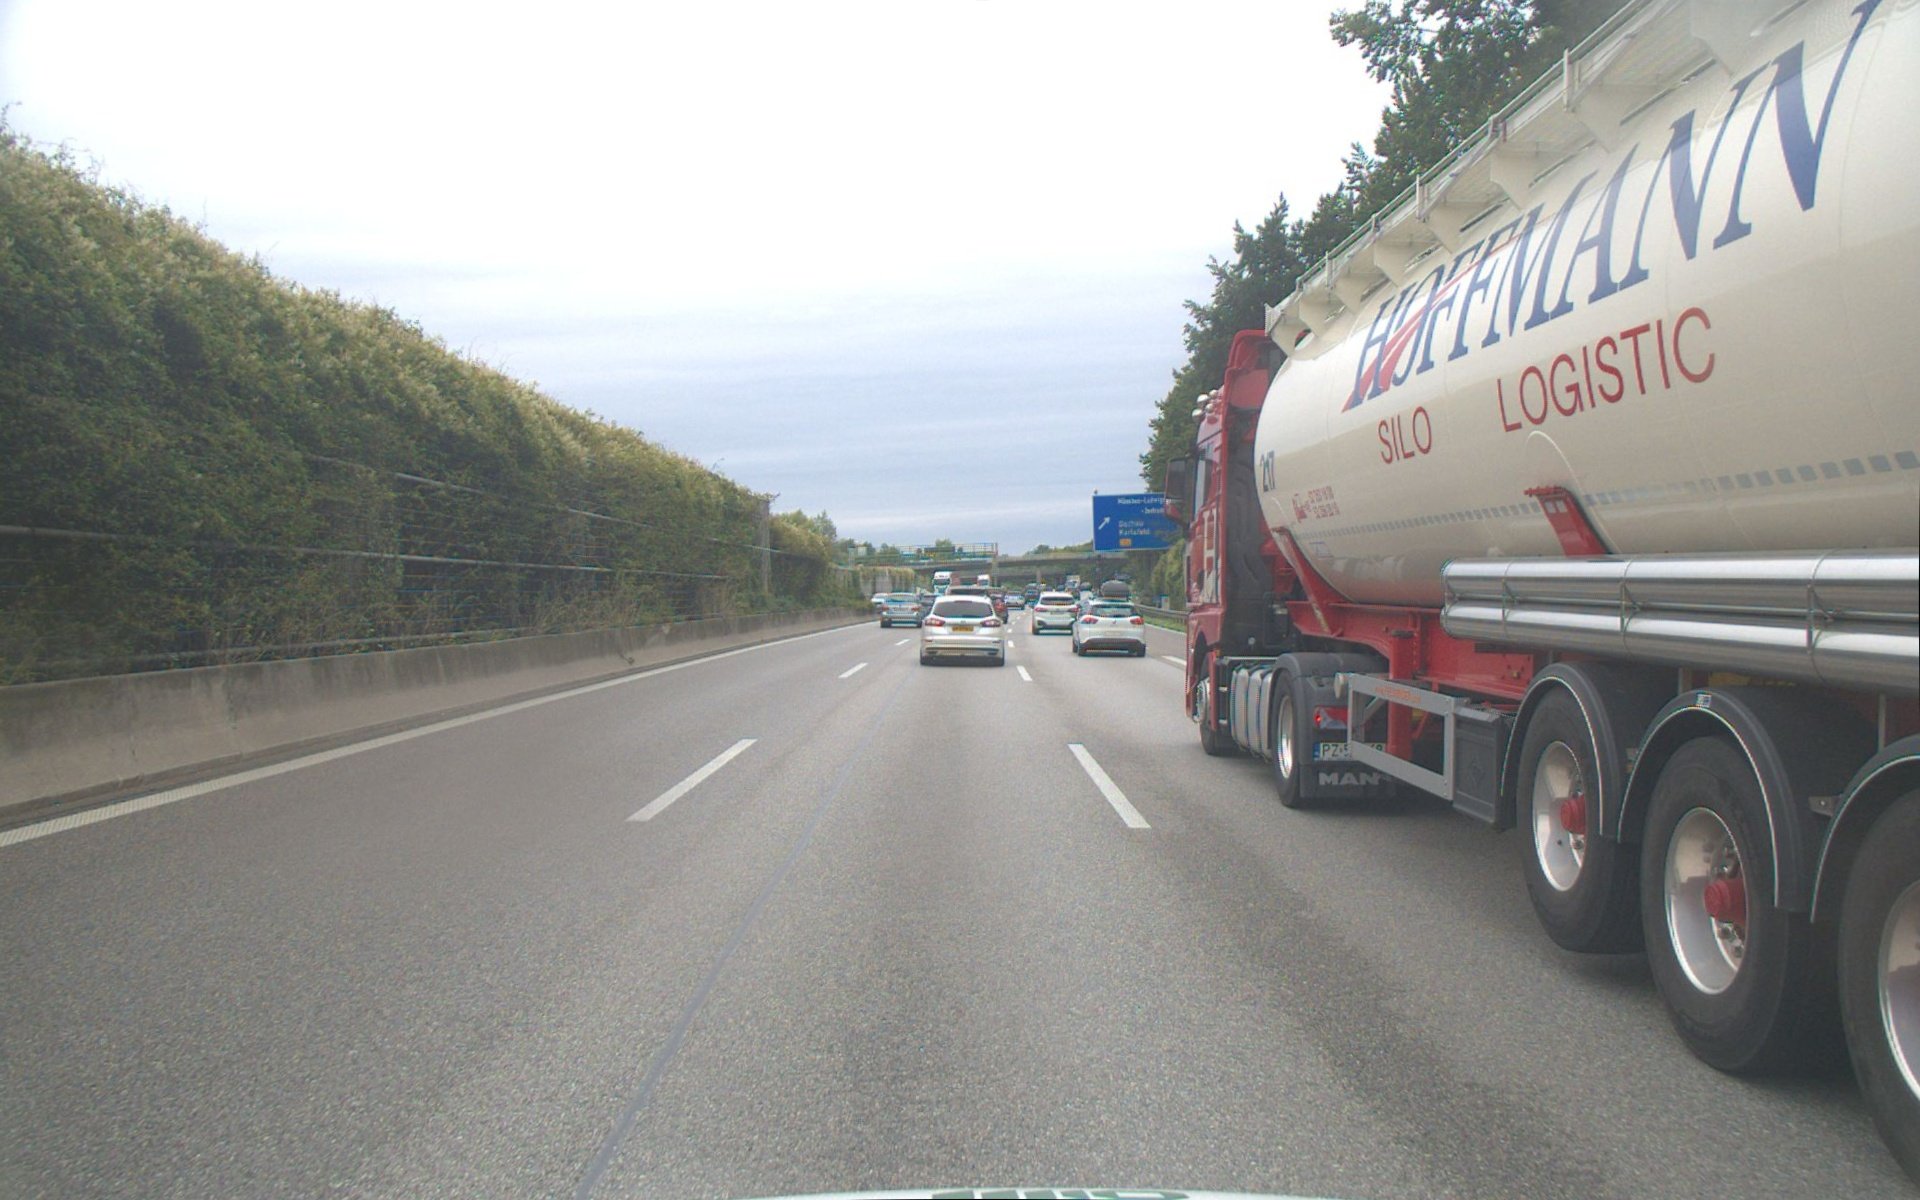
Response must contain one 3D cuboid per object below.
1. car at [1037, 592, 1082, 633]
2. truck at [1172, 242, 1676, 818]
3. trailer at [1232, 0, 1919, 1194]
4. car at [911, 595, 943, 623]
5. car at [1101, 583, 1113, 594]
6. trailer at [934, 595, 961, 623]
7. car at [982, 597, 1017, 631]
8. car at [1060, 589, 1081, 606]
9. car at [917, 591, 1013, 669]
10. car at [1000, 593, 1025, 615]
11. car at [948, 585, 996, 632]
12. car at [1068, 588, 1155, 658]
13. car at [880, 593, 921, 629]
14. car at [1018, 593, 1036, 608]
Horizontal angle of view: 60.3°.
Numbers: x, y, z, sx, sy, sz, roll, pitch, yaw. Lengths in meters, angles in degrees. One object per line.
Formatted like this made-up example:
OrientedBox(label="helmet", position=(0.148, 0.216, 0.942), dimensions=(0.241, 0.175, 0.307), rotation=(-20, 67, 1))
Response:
OrientedBox(label="car", position=(3.775, 0.469, 63.057), dimensions=(1.653, 1.533, 3.873), rotation=(0, 0, 3))
OrientedBox(label="truck", position=(3.640, -0.503, 14.739), dimensions=(2.640, 3.981, 6.556), rotation=(0, 0, 0))
OrientedBox(label="trailer", position=(3.710, -0.532, 7.769), dimensions=(2.614, 4.007, 13.129), rotation=(0, 0, 0))
OrientedBox(label="car", position=(-1.884, 0.480, 94.400), dimensions=(1.685, 1.538, 5.030), rotation=(0, 0, 0))
OrientedBox(label="car", position=(19.907, -1.512, 223.633), dimensions=(1.653, 1.447, 3.874), rotation=(0, 0, 5))
OrientedBox(label="trailer", position=(-1.858, 1.324, 253.723), dimensions=(2.611, 4.200, 13.139), rotation=(-1, 0, 6))
OrientedBox(label="car", position=(1.989, 0.678, 83.978), dimensions=(1.654, 1.532, 3.872), rotation=(4, 1, 1))
OrientedBox(label="car", position=(10.256, -0.221, 153.319), dimensions=(1.653, 1.566, 3.874), rotation=(0, 0, 7))
OrientedBox(label="car", position=(0.045, 0.610, 36.444), dimensions=(1.854, 1.530, 5.028), rotation=(2, 0, -2))
OrientedBox(label="car", position=(4.487, 0.328, 141.682), dimensions=(1.752, 1.811, 3.874), rotation=(-1, 0, 7))
OrientedBox(label="car", position=(0.418, 0.293, 62.105), dimensions=(1.655, 1.532, 3.871), rotation=(4, 1, -1))
OrientedBox(label="car", position=(3.858, 0.564, 42.820), dimensions=(1.779, 1.654, 5.030), rotation=(2, 0, 0))
OrientedBox(label="car", position=(-2.544, 0.513, 71.817), dimensions=(1.685, 1.495, 5.028), rotation=(0, -1, -1))
OrientedBox(label="car", position=(7.074, 0.020, 175.021), dimensions=(1.654, 1.566, 3.871), rotation=(0, 0, -1))
